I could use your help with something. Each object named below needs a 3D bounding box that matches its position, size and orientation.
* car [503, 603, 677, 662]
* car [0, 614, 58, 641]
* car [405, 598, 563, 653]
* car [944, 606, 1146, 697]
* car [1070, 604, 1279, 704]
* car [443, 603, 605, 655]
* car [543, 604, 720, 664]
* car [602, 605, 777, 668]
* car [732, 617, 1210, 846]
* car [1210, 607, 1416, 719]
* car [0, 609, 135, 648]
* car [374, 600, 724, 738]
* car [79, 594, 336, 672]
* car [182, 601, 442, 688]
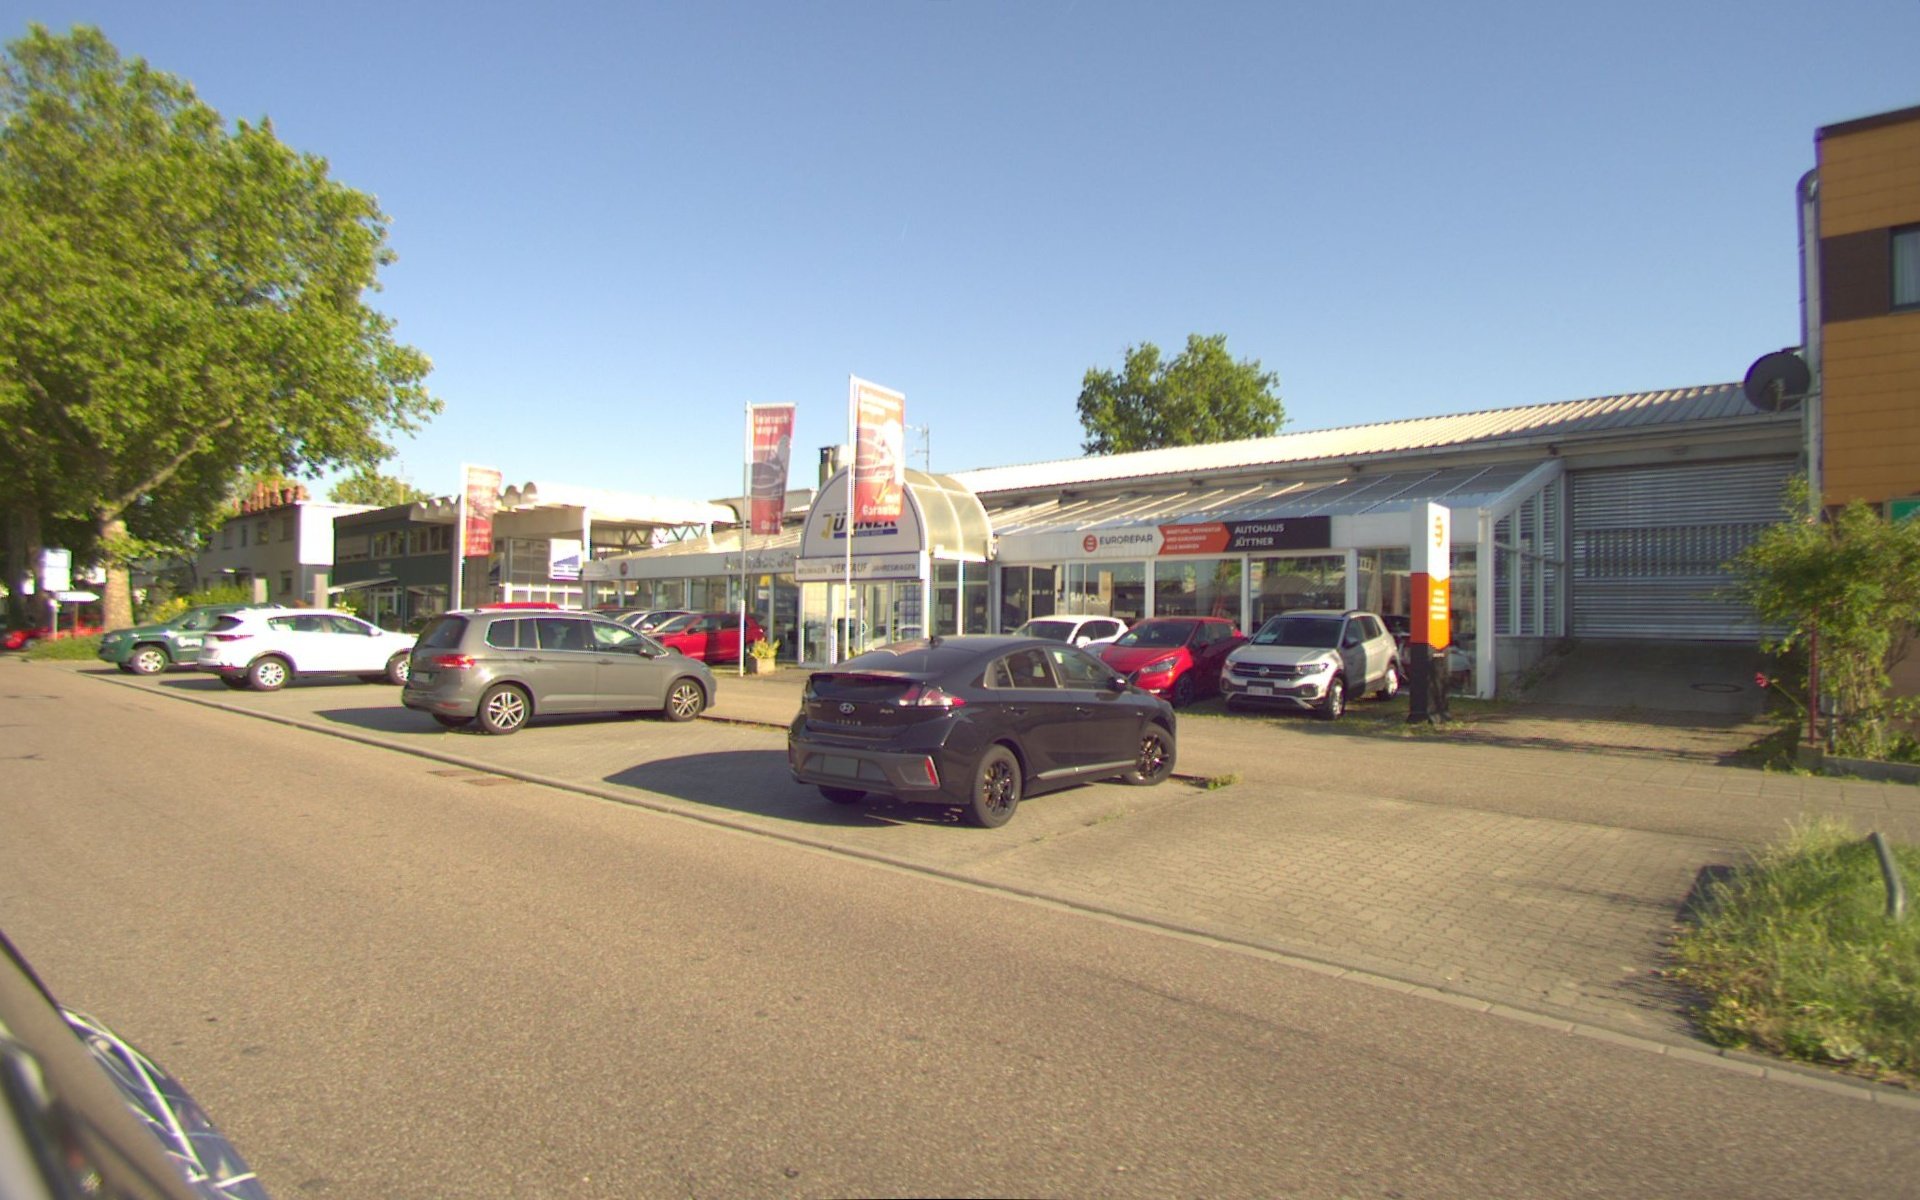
[{"bbox_3d":[-11.238,0.927,31.027,1.998,1.655,4.672,0,0,39],"label":"car"},{"bbox_3d":[-51.756,1.457,54.489,1.998,1.433,4.553,-2,-2,40],"label":"car"},{"bbox_3d":[-16.911,0.852,36.151,1.998,1.833,4.699,0,0,39],"label":"car"},{"bbox_3d":[1.741,0.913,19.690,1.999,1.567,3.946,0,0,40],"label":"car"},{"bbox_3d":[3.896,0.856,17.942,1.999,1.567,3.946,0,0,40],"label":"car"},{"bbox_3d":[-14.701,0.932,34.365,1.998,1.646,4.667,0,0,39],"label":"car"},{"bbox_3d":[-9.466,0.918,29.474,1.926,1.604,4.615,0,0,39],"label":"car"},{"bbox_3d":[-7.278,0.919,27.621,1.834,1.565,4.420,0,0,39],"label":"car"},{"bbox_3d":[0.336,0.914,9.132,2.199,1.471,4.272,0,0,38],"label":"car"},{"bbox_3d":[5.813,0.909,16.415,1.887,1.567,3.870,0,0,40],"label":"car"},{"bbox_3d":[-36.638,1.126,41.352,1.999,1.457,4.252,0,0,40],"label":"car"},{"bbox_3d":[-5.812,0.859,14.727,2.199,1.668,4.191,0,0,38],"label":"car"},{"bbox_3d":[-20.092,0.815,27.243,2.200,1.913,5.206,0,0,40],"label":"car"},{"bbox_3d":[-13.905,0.882,21.915,2.199,1.668,4.262,0,0,38],"label":"car"}]
